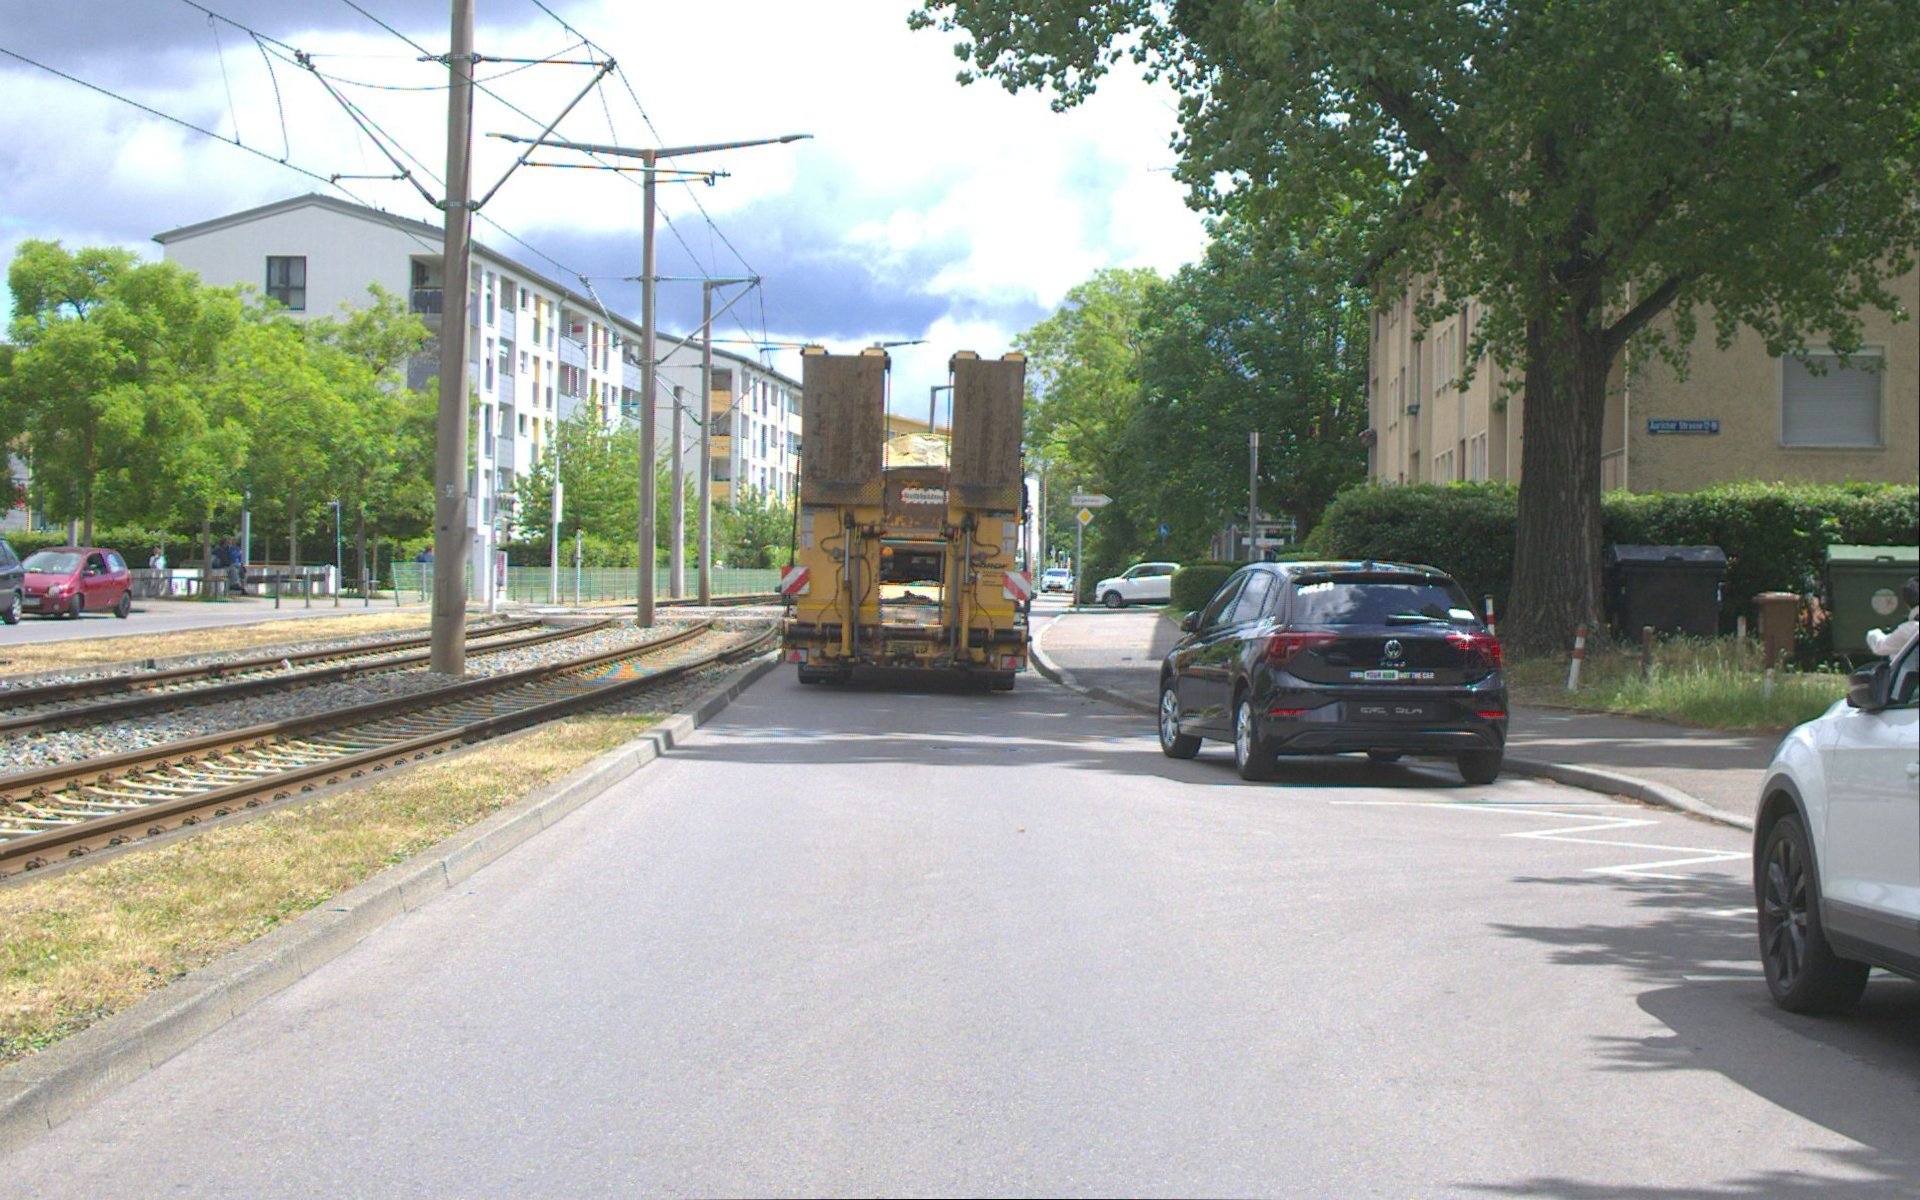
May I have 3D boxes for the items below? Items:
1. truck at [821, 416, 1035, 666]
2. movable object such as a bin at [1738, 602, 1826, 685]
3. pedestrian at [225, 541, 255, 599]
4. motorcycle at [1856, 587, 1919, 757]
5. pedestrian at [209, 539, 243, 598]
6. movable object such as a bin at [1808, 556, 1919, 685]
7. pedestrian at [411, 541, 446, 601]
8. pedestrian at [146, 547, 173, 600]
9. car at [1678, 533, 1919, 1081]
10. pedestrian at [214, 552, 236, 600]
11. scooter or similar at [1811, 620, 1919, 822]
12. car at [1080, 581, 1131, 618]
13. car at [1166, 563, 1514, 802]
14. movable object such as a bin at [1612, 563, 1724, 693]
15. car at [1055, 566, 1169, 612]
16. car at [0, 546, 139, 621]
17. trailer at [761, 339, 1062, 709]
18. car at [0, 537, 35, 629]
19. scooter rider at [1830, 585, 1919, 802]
[{"bbox_3d":[-0.442,-0.874,49.826,2.833,3.319,7.985,0,1,0],"label":"truck"},{"bbox_3d":[9.297,0.486,38.902,0.802,0.912,0.761,0,1,0],"label":"movable object such as a bin"},{"bbox_3d":[-19.515,-0.813,93.172,0.623,1.568,0.557,0,1,13],"label":"pedestrian"},{"bbox_3d":[7.600,0.512,25.440,1.794,1.206,0.712,-1,1,-20],"label":"motorcycle"},{"bbox_3d":[-19.717,-0.849,92.351,0.623,1.568,0.697,0,1,13],"label":"pedestrian"},{"bbox_3d":[10.343,0.223,39.003,1.169,1.434,1.057,0,1,0],"label":"movable object such as a bin"},{"bbox_3d":[-14.651,-0.804,94.703,0.749,1.656,0.869,0,1,6],"label":"pedestrian"},{"bbox_3d":[-23.323,-0.778,100.175,0.545,1.542,0.528,0,1,23],"label":"pedestrian"},{"bbox_3d":[3.611,0.583,10.174,1.783,1.560,4.570,0,1,-3],"label":"car"},{"bbox_3d":[-19.568,-0.648,91.485,0.499,1.262,0.500,-1,1,-21],"label":"pedestrian"},{"bbox_3d":[5.780,0.690,20.440,0.890,1.061,2.114,0,2,-1],"label":"scooter or similar"},{"bbox_3d":[5.787,-0.025,137.249,1.993,1.382,4.000,0,1,2],"label":"car"},{"bbox_3d":[2.482,0.494,23.319,1.815,1.444,3.827,0,1,-2],"label":"car"},{"bbox_3d":[7.980,0.310,38.787,1.098,1.434,0.761,0,1,0],"label":"movable object such as a bin"},{"bbox_3d":[5.252,-0.367,118.504,3.600,1.579,1.999,0,0,14],"label":"car"},{"bbox_3d":[-17.760,-0.346,68.350,1.614,1.421,3.422,0,1,8],"label":"car"},{"bbox_3d":[-0.513,-0.893,40.805,3.050,3.760,11.613,0,1,0],"label":"trailer"},{"bbox_3d":[-18.175,-0.296,61.267,1.994,1.642,4.099,0,1,5],"label":"car"},{"bbox_3d":[5.778,0.535,20.419,0.885,1.216,1.282,0,2,-1],"label":"scooter rider"}]
